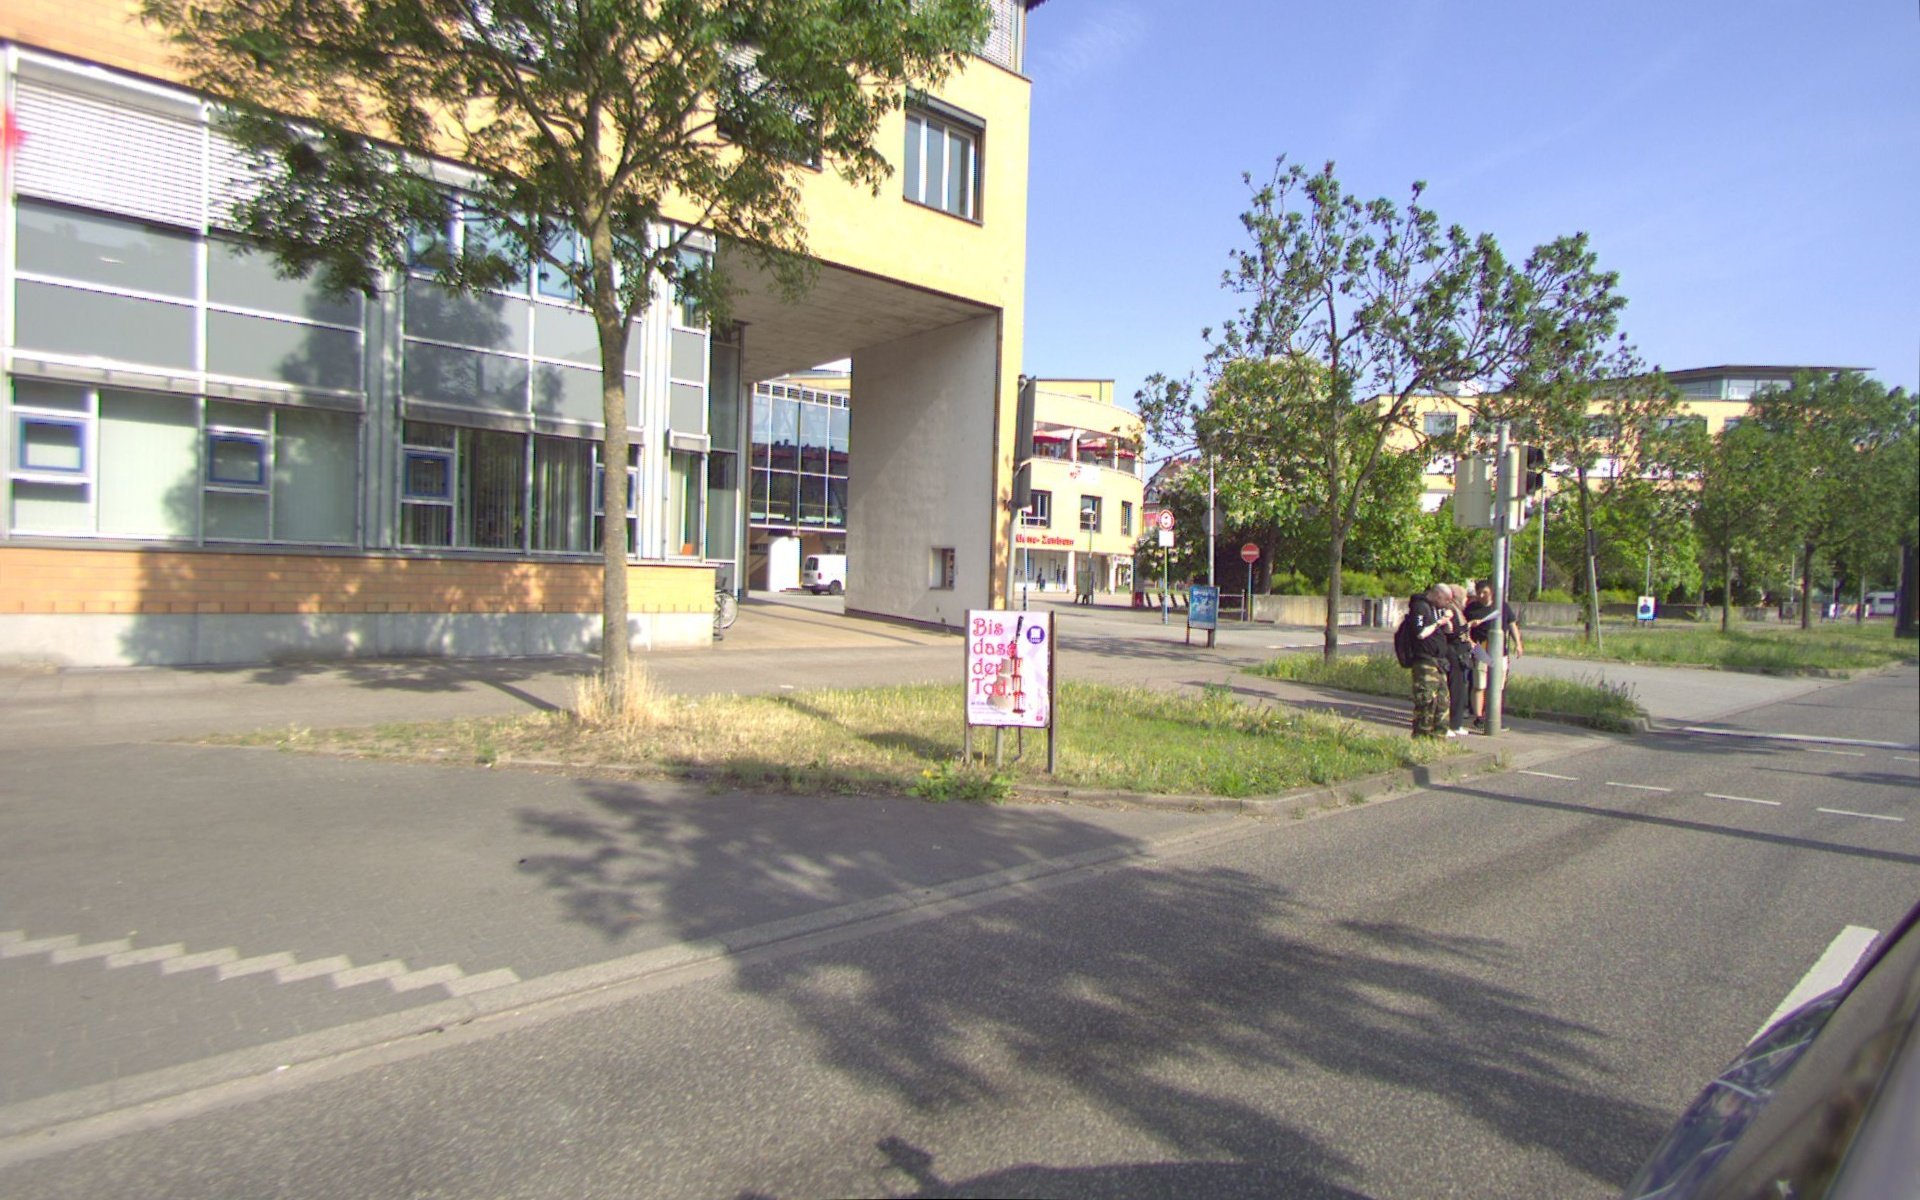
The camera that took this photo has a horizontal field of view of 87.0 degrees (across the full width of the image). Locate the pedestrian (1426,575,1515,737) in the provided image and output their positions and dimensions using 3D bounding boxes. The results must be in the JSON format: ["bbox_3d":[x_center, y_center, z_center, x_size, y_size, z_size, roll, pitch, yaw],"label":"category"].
[{"bbox_3d":[5.517,0.577,10.941,0.599,1.667,0.635,0,3,-44],"label":"pedestrian"}]

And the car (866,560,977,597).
[{"bbox_3d":[-1.538,-0.864,41.980,4.622,1.417,1.597,0,0,-40],"label":"car"}]

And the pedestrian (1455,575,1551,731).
[{"bbox_3d":[6.167,0.573,11.490,0.677,1.667,0.706,0,3,-42],"label":"pedestrian"}]

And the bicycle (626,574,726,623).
[{"bbox_3d":[-5.464,-0.038,19.564,1.805,0.901,0.528,0,2,-40],"label":"bicycle"}]

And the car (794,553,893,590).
[{"bbox_3d":[-5.406,-1.294,47.189,4.342,1.661,1.770,0,0,-41],"label":"car"}]

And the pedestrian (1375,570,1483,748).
[{"bbox_3d":[4.698,0.556,10.141,0.677,1.667,0.706,0,3,-42],"label":"pedestrian"}]

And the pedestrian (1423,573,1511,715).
[{"bbox_3d":[6.271,0.516,12.521,0.677,1.667,0.706,0,3,-42],"label":"pedestrian"}]

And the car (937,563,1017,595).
[{"bbox_3d":[0.896,-0.990,49.854,1.684,1.504,4.300,-1,0,39],"label":"car"}]

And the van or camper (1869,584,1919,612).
[{"bbox_3d":[94.766,-0.170,101.051,2.368,2.727,5.790,0,0,-43],"label":"van or camper"}]

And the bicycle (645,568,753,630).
[{"bbox_3d":[-4.830,-0.030,18.774,1.804,1.054,0.653,0,4,-40],"label":"bicycle"}]
